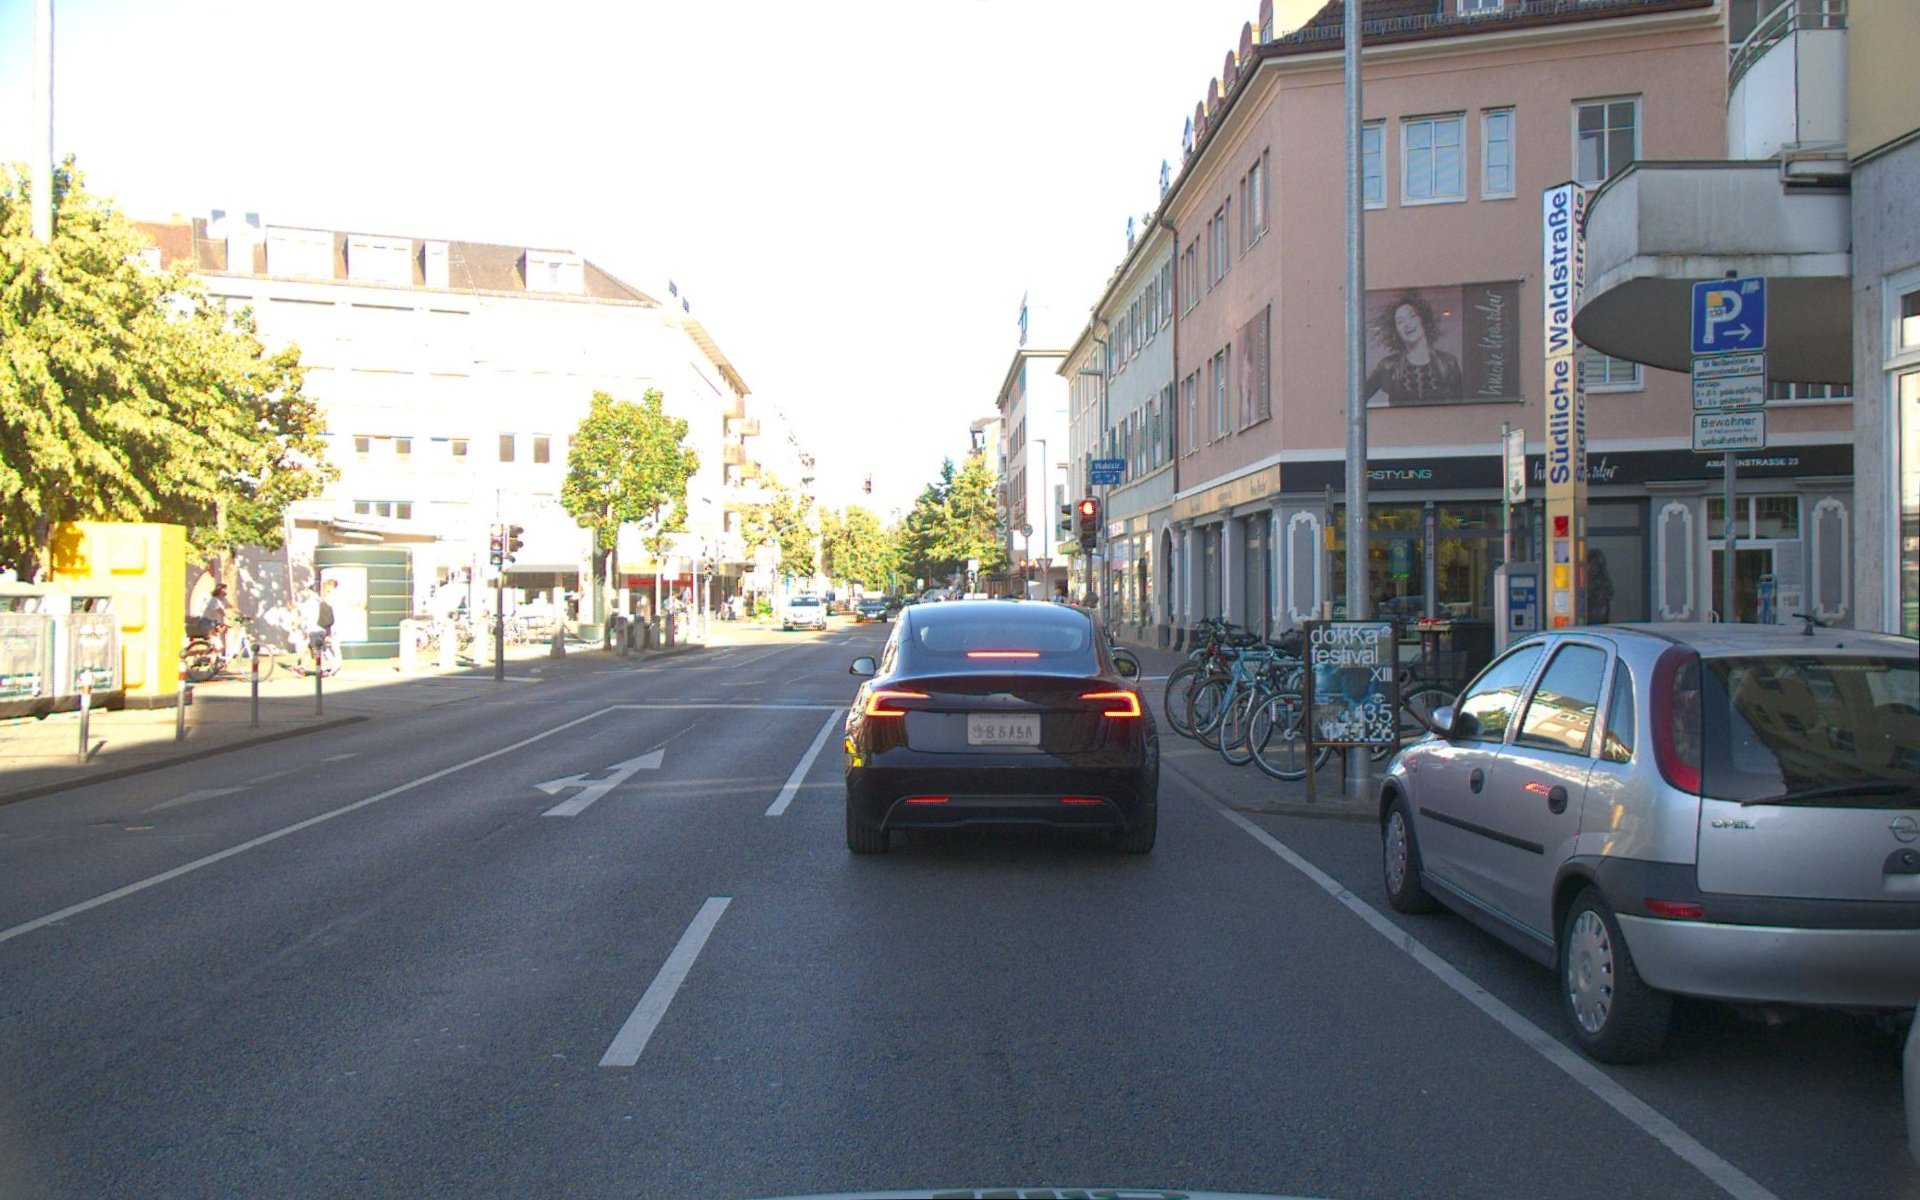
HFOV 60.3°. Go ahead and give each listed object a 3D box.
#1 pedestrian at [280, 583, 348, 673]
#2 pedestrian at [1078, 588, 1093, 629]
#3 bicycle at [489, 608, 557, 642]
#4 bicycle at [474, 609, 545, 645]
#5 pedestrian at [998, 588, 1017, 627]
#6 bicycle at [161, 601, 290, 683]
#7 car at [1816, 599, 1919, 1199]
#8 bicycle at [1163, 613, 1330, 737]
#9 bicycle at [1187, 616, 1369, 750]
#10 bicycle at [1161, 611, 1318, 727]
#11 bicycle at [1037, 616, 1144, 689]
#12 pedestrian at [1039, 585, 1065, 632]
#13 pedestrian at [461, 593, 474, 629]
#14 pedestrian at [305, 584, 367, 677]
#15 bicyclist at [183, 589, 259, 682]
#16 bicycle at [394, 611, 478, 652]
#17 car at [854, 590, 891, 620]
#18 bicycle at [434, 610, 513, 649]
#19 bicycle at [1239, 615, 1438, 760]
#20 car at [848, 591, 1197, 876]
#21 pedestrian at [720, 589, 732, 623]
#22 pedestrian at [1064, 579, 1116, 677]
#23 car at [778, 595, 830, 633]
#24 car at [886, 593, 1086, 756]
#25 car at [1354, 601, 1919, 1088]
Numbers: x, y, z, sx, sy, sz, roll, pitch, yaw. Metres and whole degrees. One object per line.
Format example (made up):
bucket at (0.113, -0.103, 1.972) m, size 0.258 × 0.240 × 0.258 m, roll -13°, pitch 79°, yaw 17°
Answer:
pedestrian at (-12.168, 0.513, 31.171) m, size 0.966 × 1.665 × 0.737 m, roll 0°, pitch 0°, yaw 3°
pedestrian at (6.421, 0.436, 84.874) m, size 0.614 × 2.049 × 0.559 m, roll 0°, pitch 0°, yaw 24°
bicycle at (-14.548, 0.824, 55.107) m, size 2.040 × 1.123 × 0.806 m, roll 0°, pitch 0°, yaw -1°
bicycle at (-14.408, 0.867, 52.915) m, size 2.040 × 1.123 × 0.806 m, roll 0°, pitch 0°, yaw -1°
pedestrian at (2.531, 0.401, 88.091) m, size 0.742 × 2.049 × 0.791 m, roll 0°, pitch 0°, yaw -27°
bicycle at (-13.033, 0.729, 29.352) m, size 2.081 × 1.220 × 0.629 m, roll 6°, pitch 1°, yaw 16°
car at (3.085, 0.733, 2.156) m, size 1.637 × 1.452 × 4.074 m, roll 0°, pitch 0°, yaw -4°
bicycle at (2.900, 0.756, 16.799) m, size 1.595 × 1.180 × 0.432 m, roll -2°, pitch 0°, yaw -2°
bicycle at (2.979, 0.774, 15.547) m, size 1.595 × 1.180 × 0.432 m, roll -2°, pitch 0°, yaw -2°
bicycle at (3.024, 0.742, 17.940) m, size 1.594 × 1.180 × 0.433 m, roll -2°, pitch 0°, yaw 0°
bicycle at (1.993, 0.794, 25.172) m, size 1.581 × 1.063 × 0.591 m, roll 1°, pitch 0°, yaw 9°
pedestrian at (3.697, 0.324, 66.406) m, size 0.979 × 1.883 × 0.615 m, roll 0°, pitch 0°, yaw -1°
pedestrian at (-18.794, 0.423, 63.130) m, size 0.412 × 1.363 × 0.393 m, roll 0°, pitch 0°, yaw -8°
pedestrian at (-12.006, 0.575, 31.850) m, size 0.882 × 1.755 × 0.744 m, roll 0°, pitch 0°, yaw 3°
bicyclist at (-13.124, 0.616, 29.377) m, size 1.074 × 1.617 × 0.629 m, roll 0°, pitch 0°, yaw 15°
bicycle at (-14.443, 0.866, 45.620) m, size 2.040 × 1.123 × 0.806 m, roll 0°, pitch 0°, yaw -1°
car at (-5.156, 0.299, 98.354) m, size 2.008 × 1.757 × 4.653 m, roll 0°, pitch 0°, yaw -1°
bicycle at (-14.146, 0.853, 48.144) m, size 2.040 × 1.123 × 0.806 m, roll 0°, pitch 0°, yaw -1°
bicycle at (3.271, 0.746, 14.348) m, size 1.595 × 1.180 × 0.432 m, roll -2°, pitch 0°, yaw -2°
car at (0.328, 0.690, 10.507) m, size 1.812 × 1.480 × 3.786 m, roll 0°, pitch 0°, yaw 0°
pedestrian at (-13.919, 0.360, 98.289) m, size 0.613 × 2.049 × 0.575 m, roll 0°, pitch 0°, yaw -1°
pedestrian at (1.981, 0.419, 25.188) m, size 0.727 × 1.466 × 0.583 m, roll 1°, pitch 0°, yaw 9°
car at (-7.038, 0.601, 74.978) m, size 1.953 × 1.567 × 3.999 m, roll -3°, pitch 0°, yaw -1°
car at (0.241, 0.673, 16.973) m, size 1.812 × 1.480 × 3.786 m, roll 0°, pitch 0°, yaw 0°
car at (2.876, 0.721, 6.815) m, size 1.588 × 1.419 × 3.886 m, roll 0°, pitch 0°, yaw 0°
